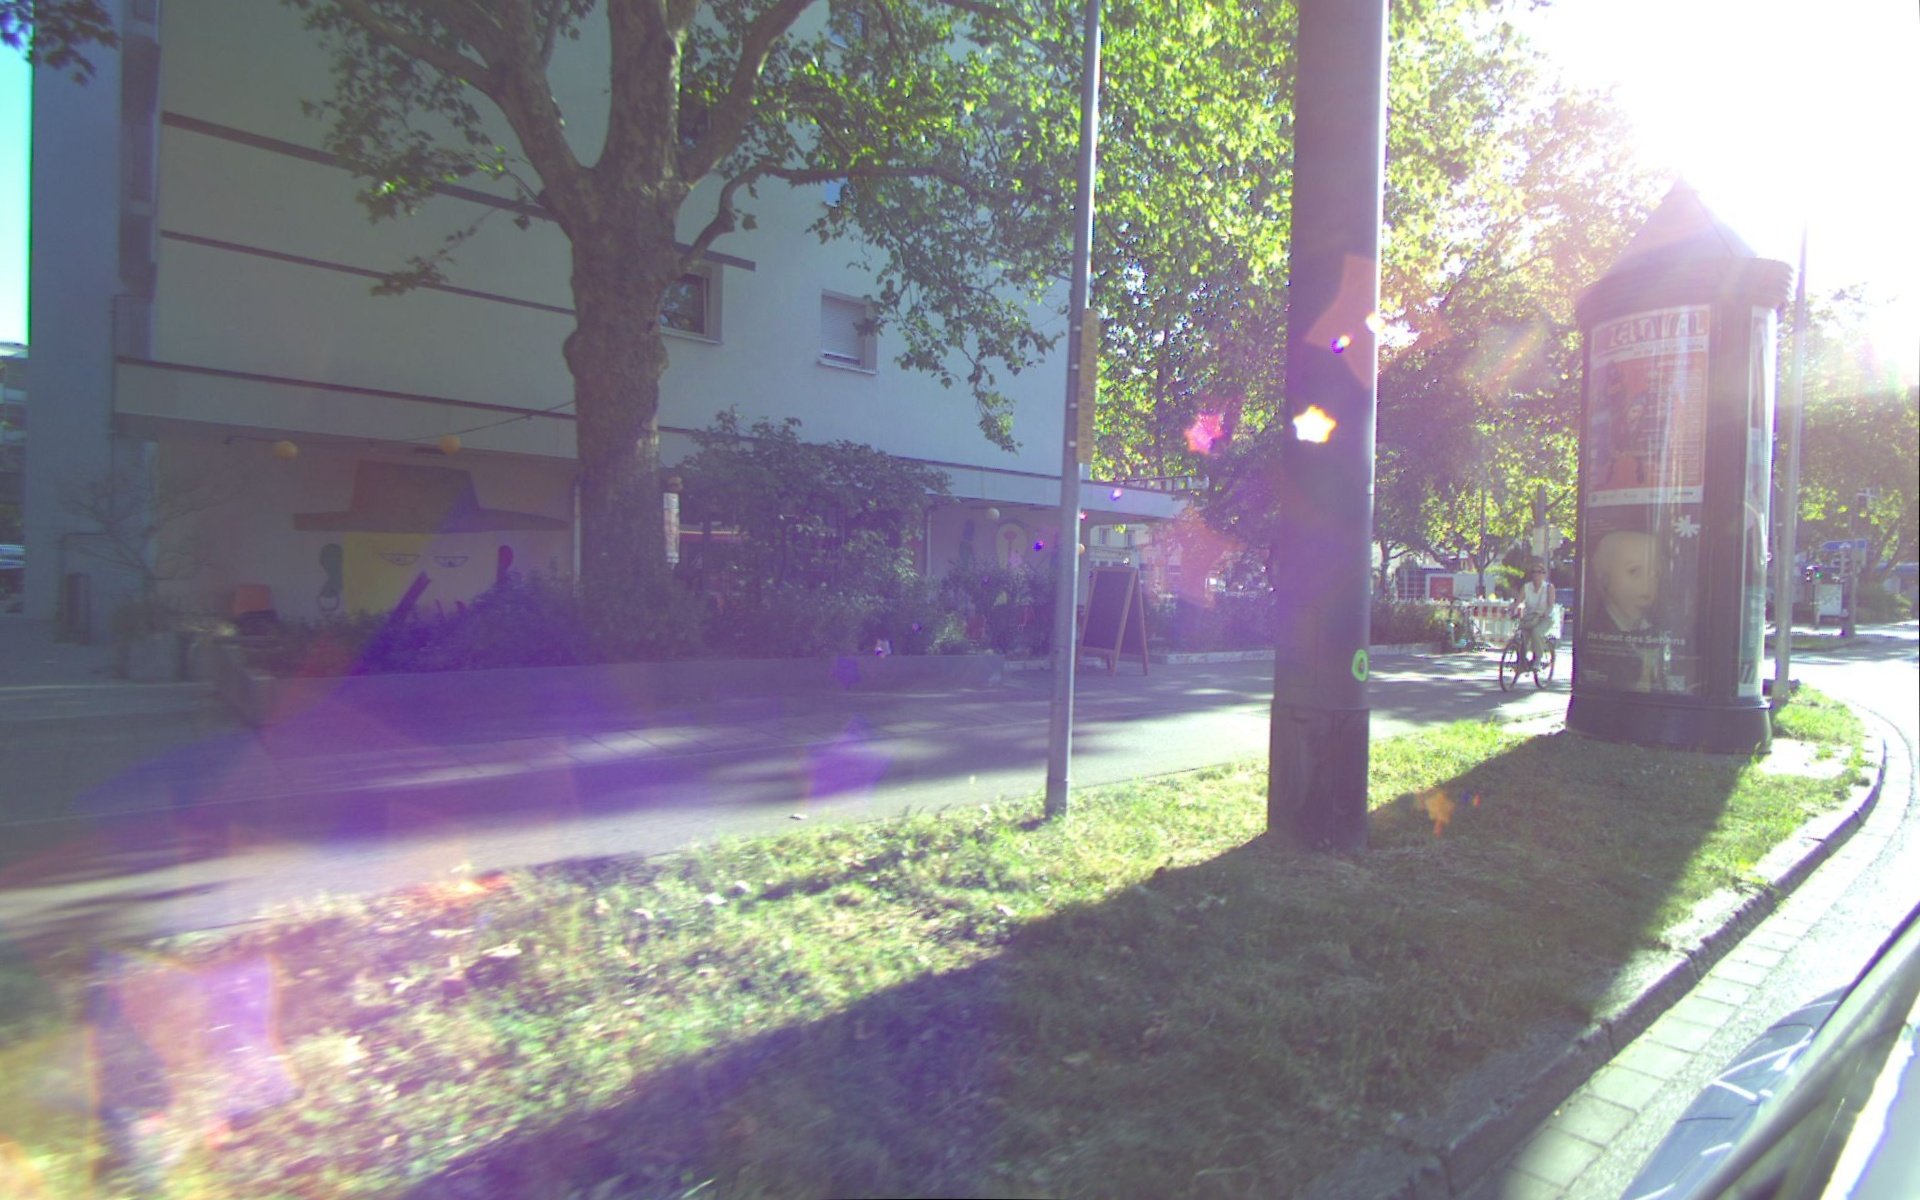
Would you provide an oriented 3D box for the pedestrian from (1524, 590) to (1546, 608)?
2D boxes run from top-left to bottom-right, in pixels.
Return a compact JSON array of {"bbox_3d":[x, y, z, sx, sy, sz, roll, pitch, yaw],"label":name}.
[{"bbox_3d":[40.282,-0.036,70.941,0.777,1.256,1.140,1,-1,-40],"label":"pedestrian"}]

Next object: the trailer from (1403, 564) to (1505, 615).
[{"bbox_3d":[24.671,-0.554,50.648,4.474,2.403,1.895,2,0,28],"label":"trailer"}]

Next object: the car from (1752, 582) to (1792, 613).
[{"bbox_3d":[74.955,-0.250,93.401,4.631,2.777,1.997,0,-1,-40],"label":"car"}]

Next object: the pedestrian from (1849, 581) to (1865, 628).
[{"bbox_3d":[31.863,0.168,35.947,0.427,1.660,0.604,0,-1,42],"label":"pedestrian"}]

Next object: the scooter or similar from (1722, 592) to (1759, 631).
[{"bbox_3d":[26.477,0.376,34.346,1.265,1.273,0.563,0,2,-32],"label":"scooter or similar"}]

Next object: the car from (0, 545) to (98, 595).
[{"bbox_3d":[-29.638,-0.902,31.417,1.973,1.471,3.977,0,0,18],"label":"car"}]

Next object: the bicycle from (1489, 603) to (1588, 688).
[{"bbox_3d":[7.676,0.573,13.398,1.736,1.039,0.604,0,1,-42],"label":"bicycle"}]

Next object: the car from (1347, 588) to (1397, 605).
[{"bbox_3d":[39.561,-0.334,97.261,1.888,1.541,3.995,0,-1,-39],"label":"car"}]

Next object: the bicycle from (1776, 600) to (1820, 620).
[{"bbox_3d":[46.792,0.551,56.532,1.804,1.067,0.530,1,0,24],"label":"bicycle"}]

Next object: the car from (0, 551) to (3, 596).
[{"bbox_3d":[-33.477,-0.888,32.192,1.973,1.471,3.977,0,0,18],"label":"car"}]

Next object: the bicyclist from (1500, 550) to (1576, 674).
[{"bbox_3d":[7.613,0.145,13.329,0.845,1.570,0.604,1,1,-42],"label":"bicyclist"}]

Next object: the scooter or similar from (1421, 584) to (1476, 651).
[{"bbox_3d":[9.759,0.335,20.203,1.269,1.273,0.561,0,2,-44],"label":"scooter or similar"}]

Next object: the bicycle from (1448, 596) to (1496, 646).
[{"bbox_3d":[11.320,0.439,22.419,0.597,1.039,1.942,2,0,17],"label":"bicycle"}]
